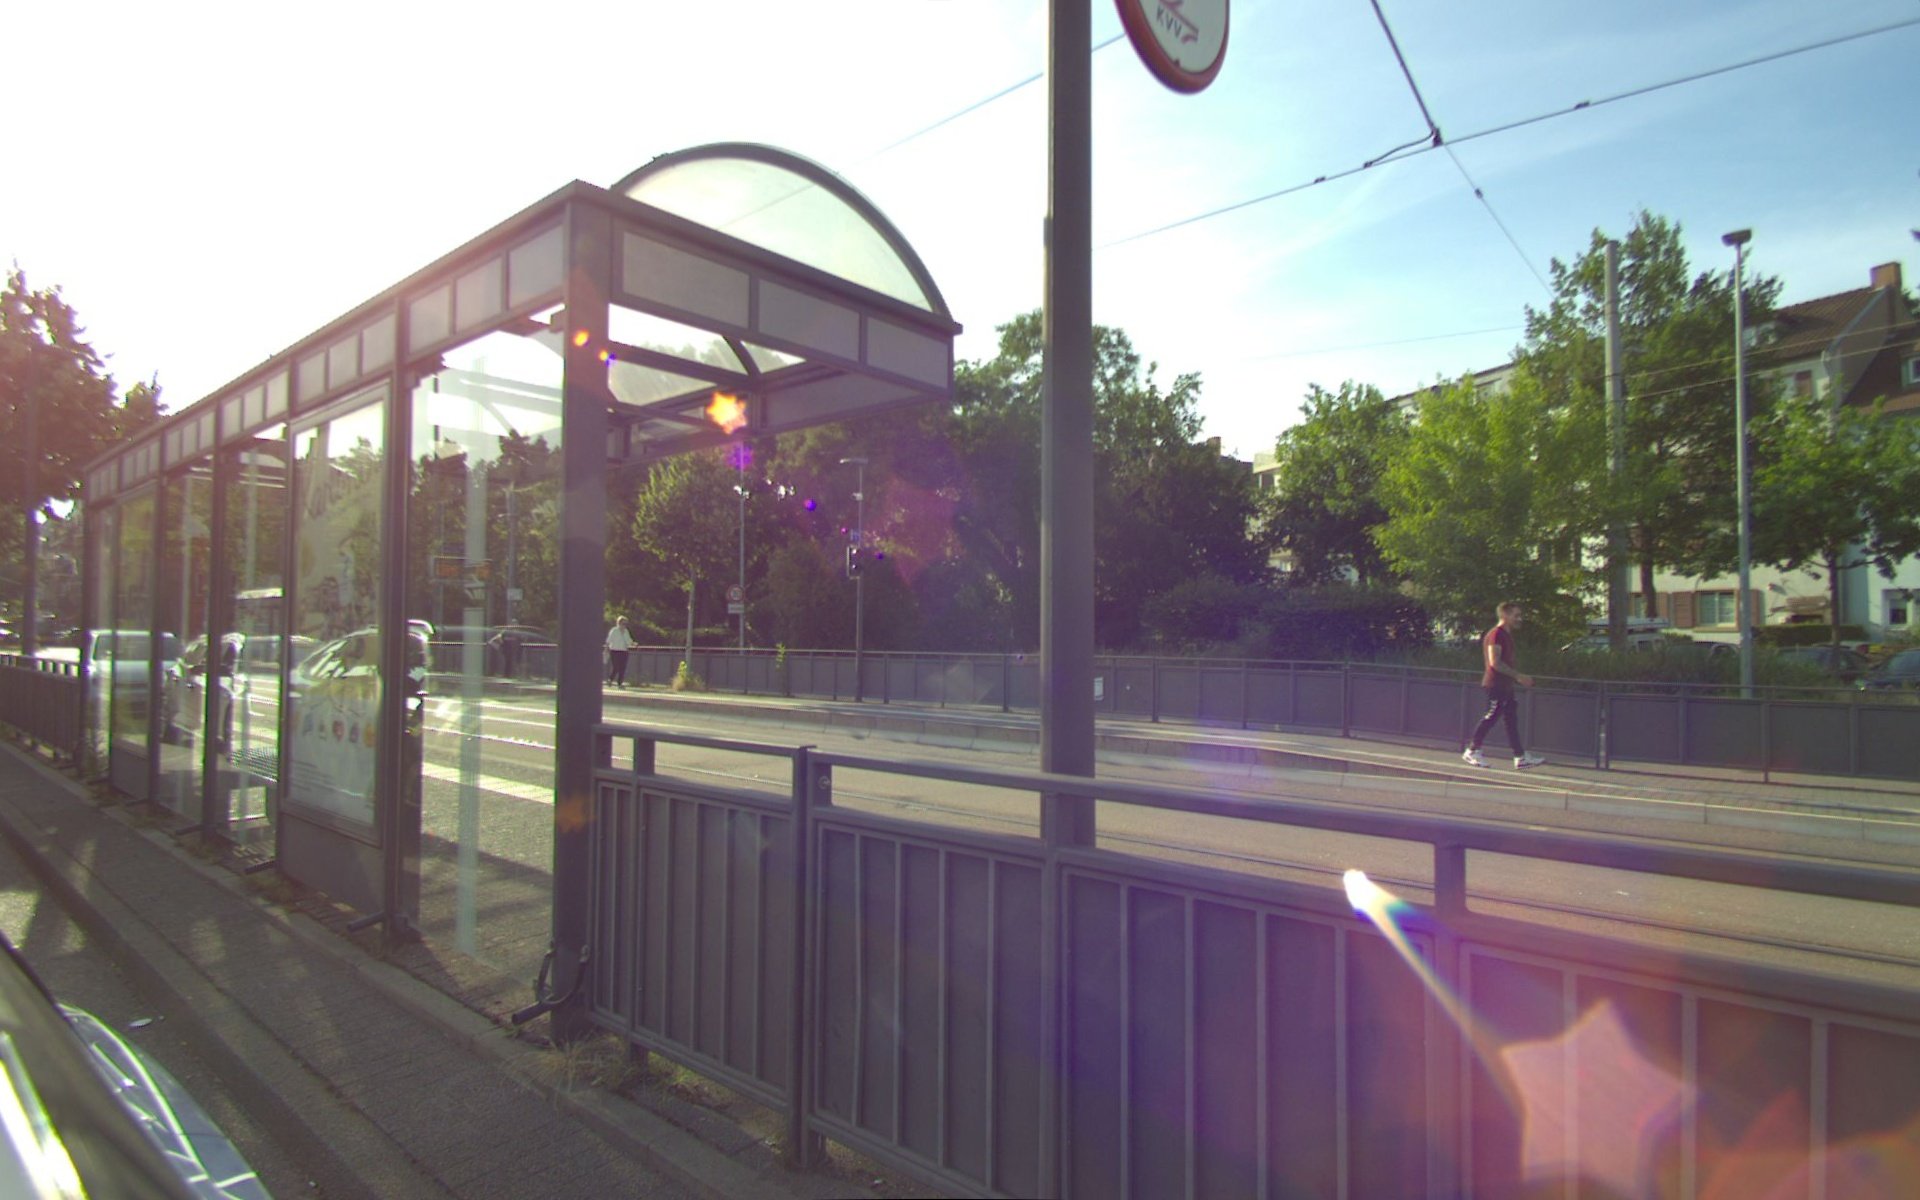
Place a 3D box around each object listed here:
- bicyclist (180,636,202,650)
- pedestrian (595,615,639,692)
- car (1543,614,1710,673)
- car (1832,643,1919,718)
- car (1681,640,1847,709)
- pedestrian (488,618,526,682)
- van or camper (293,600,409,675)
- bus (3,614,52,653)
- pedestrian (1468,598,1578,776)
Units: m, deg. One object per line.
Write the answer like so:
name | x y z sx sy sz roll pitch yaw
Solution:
bicyclist | -58.576 3.292 77.109 0.672 1.032 1.200 -2 -3 45
pedestrian | -7.769 1.209 22.932 0.618 1.697 0.613 -2 -6 41
car | 18.046 1.195 27.422 3.930 1.497 1.854 1 -3 -22
car | 19.630 1.601 20.616 3.935 1.409 2.004 2 -3 -37
car | 18.178 1.624 22.843 3.935 1.409 2.004 2 -3 -37
pedestrian | -12.276 1.364 27.430 0.618 1.697 0.613 -2 -6 41
van or camper | -26.413 1.538 43.771 6.408 2.990 2.494 -1 0 41
bus | -86.649 3.040 93.968 9.258 3.461 2.405 -1 0 41
pedestrian | 5.670 0.863 10.211 0.877 1.697 0.547 -2 -6 41
